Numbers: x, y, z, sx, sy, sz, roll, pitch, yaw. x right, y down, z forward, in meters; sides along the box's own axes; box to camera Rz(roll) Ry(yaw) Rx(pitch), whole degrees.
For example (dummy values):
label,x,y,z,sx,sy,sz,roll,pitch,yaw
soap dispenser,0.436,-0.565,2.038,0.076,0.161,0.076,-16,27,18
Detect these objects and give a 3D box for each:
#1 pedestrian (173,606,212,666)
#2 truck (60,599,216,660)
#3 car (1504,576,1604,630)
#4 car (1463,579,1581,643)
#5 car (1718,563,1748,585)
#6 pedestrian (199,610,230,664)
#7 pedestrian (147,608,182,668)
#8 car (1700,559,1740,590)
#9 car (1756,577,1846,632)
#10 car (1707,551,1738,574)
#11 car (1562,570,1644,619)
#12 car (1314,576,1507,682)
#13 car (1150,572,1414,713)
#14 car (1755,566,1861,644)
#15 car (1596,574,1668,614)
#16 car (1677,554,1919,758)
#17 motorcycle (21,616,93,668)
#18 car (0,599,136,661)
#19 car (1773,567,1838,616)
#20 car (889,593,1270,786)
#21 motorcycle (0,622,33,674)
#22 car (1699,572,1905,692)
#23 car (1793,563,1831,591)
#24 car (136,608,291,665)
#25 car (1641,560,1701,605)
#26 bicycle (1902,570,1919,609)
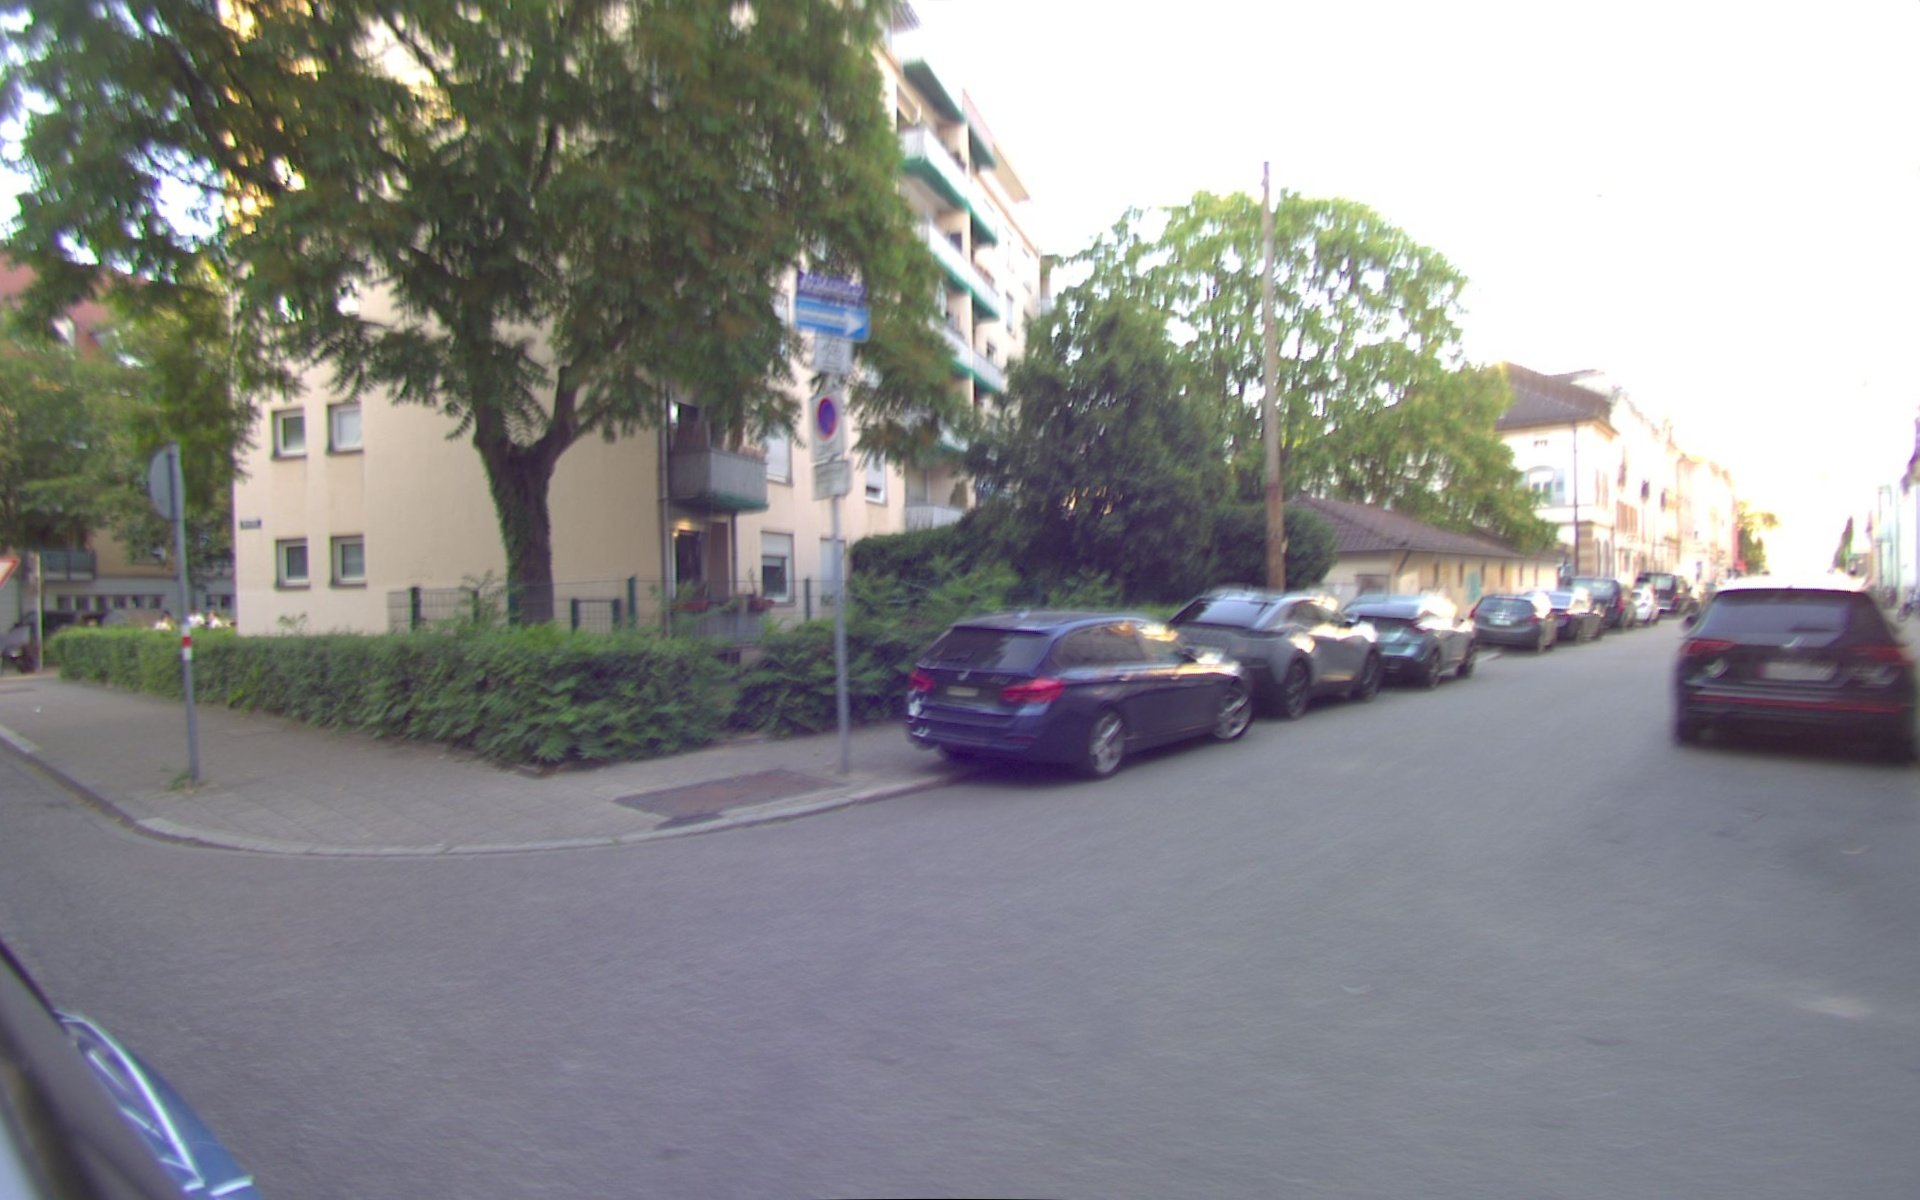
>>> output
label,x,y,z,sx,sy,sz,roll,pitch,yaw
pedestrian,-23.540,1.108,31.040,0.694,1.801,0.660,-2,-1,23
truck,-34.360,1.176,42.314,5.977,2.149,2.247,2,1,19
car,17.593,0.056,29.899,1.845,1.496,3.848,-1,0,42
car,14.419,0.244,25.887,1.845,1.496,3.848,-1,0,42
car,57.770,-1.922,75.633,1.498,1.520,3.139,-2,0,42
pedestrian,-22.442,1.106,30.456,0.657,1.583,0.445,-2,0,23
pedestrian,-24.170,1.146,30.762,0.687,1.801,0.531,-2,-1,-21
car,51.555,-1.710,68.603,1.845,1.975,3.848,-1,0,42
car,21.692,0.111,26.062,1.616,1.308,3.139,-2,0,42
car,67.349,-3.288,89.406,1.845,1.975,3.848,-1,0,42
car,22.786,-0.192,35.796,1.845,1.621,3.848,-1,0,42
car,8.110,0.434,18.011,1.828,1.652,4.323,-2,0,42
car,4.606,0.477,14.073,1.828,1.652,4.323,-2,0,42
car,18.774,0.088,22.371,1.616,1.599,3.139,-2,0,42
car,26.735,-0.238,40.219,1.845,1.496,3.848,-1,0,42
car,8.473,0.427,10.164,1.794,1.668,3.795,1,1,39
motorcycle,-27.469,1.284,30.775,2.208,1.505,0.686,-2,0,21
car,-34.989,1.118,39.675,4.599,2.149,2.024,2,1,19
car,28.264,-0.307,33.795,1.498,1.532,3.139,-2,0,42
car,1.390,0.692,10.014,1.684,1.469,4.301,-1,0,39
motorcycle,-26.562,1.322,28.382,0.712,1.384,2.228,-2,0,-41
car,11.886,0.386,14.208,3.787,1.459,1.763,-1,0,-43
car,49.745,-1.350,59.078,1.498,1.520,3.139,-2,0,42
car,-25.258,1.243,34.241,4.478,1.593,2.042,-4,0,20
car,33.398,-0.810,47.499,1.845,1.975,3.848,-1,0,42
bicycle,33.315,-0.397,35.085,0.794,1.270,2.915,-4,-1,41
